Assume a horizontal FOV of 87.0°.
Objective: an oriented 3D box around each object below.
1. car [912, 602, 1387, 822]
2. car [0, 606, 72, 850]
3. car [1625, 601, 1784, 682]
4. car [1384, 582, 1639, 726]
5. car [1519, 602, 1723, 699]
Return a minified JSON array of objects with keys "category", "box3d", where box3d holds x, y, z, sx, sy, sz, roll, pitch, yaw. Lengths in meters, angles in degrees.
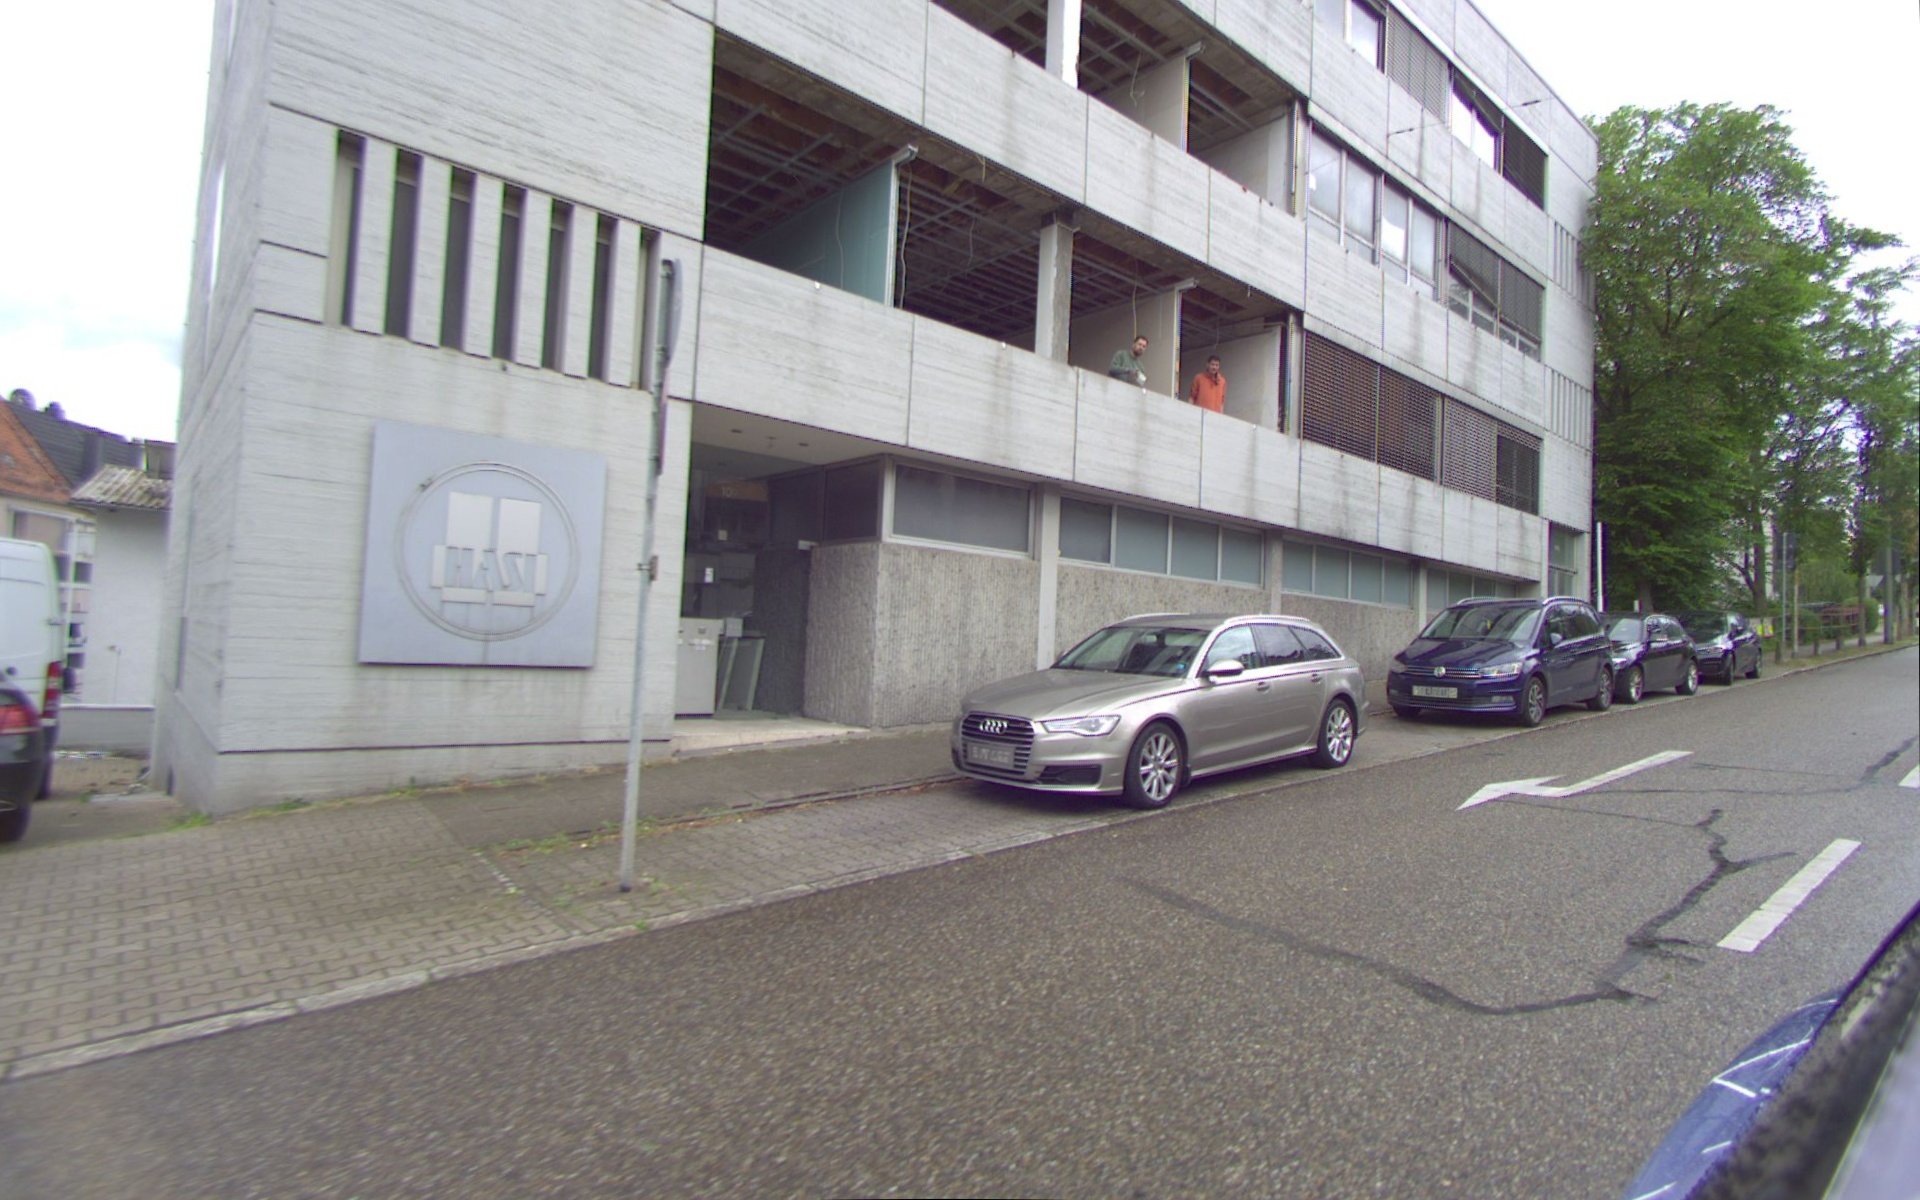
[{"category":"car","box3d":[1.927,0.764,9.153,4.661,1.478,1.816,0,0,-43]},{"category":"car","box3d":[-7.727,0.857,6.702,4.337,1.425,1.787,-3,-2,35]},{"category":"car","box3d":[15.423,0.780,20.882,4.084,1.462,1.841,0,1,-42]},{"category":"car","box3d":[7.747,0.633,14.052,4.269,1.696,1.747,0,0,-41]},{"category":"car","box3d":[11.416,0.773,17.401,4.022,1.462,1.711,0,0,-38]}]
